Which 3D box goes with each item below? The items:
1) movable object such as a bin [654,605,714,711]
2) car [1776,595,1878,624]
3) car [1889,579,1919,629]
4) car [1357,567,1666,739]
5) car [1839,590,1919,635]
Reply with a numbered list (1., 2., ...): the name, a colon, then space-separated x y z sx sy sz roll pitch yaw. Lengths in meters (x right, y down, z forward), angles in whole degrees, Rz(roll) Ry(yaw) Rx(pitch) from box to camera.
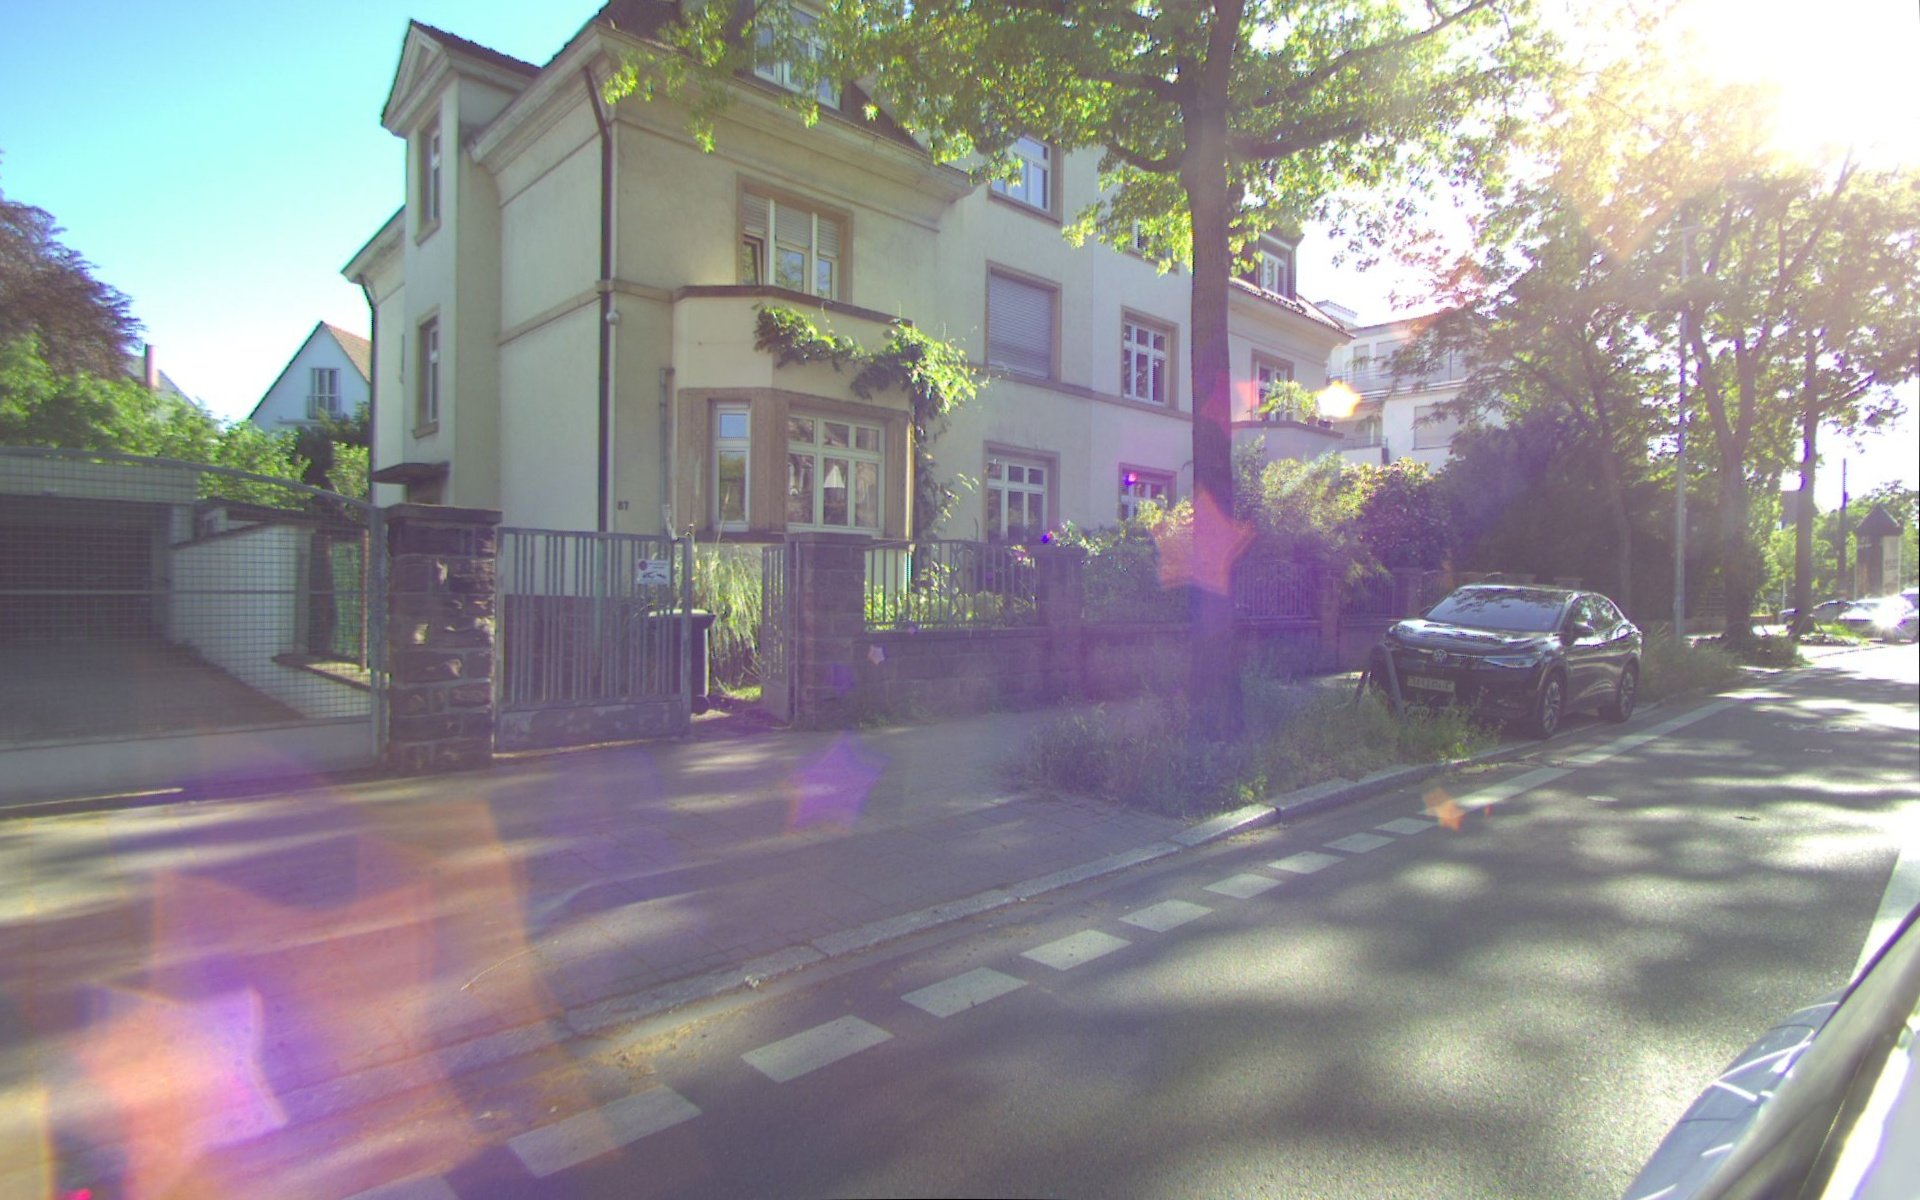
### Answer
1. movable object such as a bin: -2.917 0.588 10.673 0.551 1.062 0.676 0 0 -20
2. car: 46.073 0.472 53.841 1.784 1.459 3.990 0 1 -44
3. car: 36.678 0.140 37.857 4.580 1.808 1.903 0 1 -35
4. car: 6.716 0.500 12.138 4.186 1.619 1.917 0 4 -42
5. car: 31.518 0.392 34.275 4.181 1.427 1.901 0 1 -38
